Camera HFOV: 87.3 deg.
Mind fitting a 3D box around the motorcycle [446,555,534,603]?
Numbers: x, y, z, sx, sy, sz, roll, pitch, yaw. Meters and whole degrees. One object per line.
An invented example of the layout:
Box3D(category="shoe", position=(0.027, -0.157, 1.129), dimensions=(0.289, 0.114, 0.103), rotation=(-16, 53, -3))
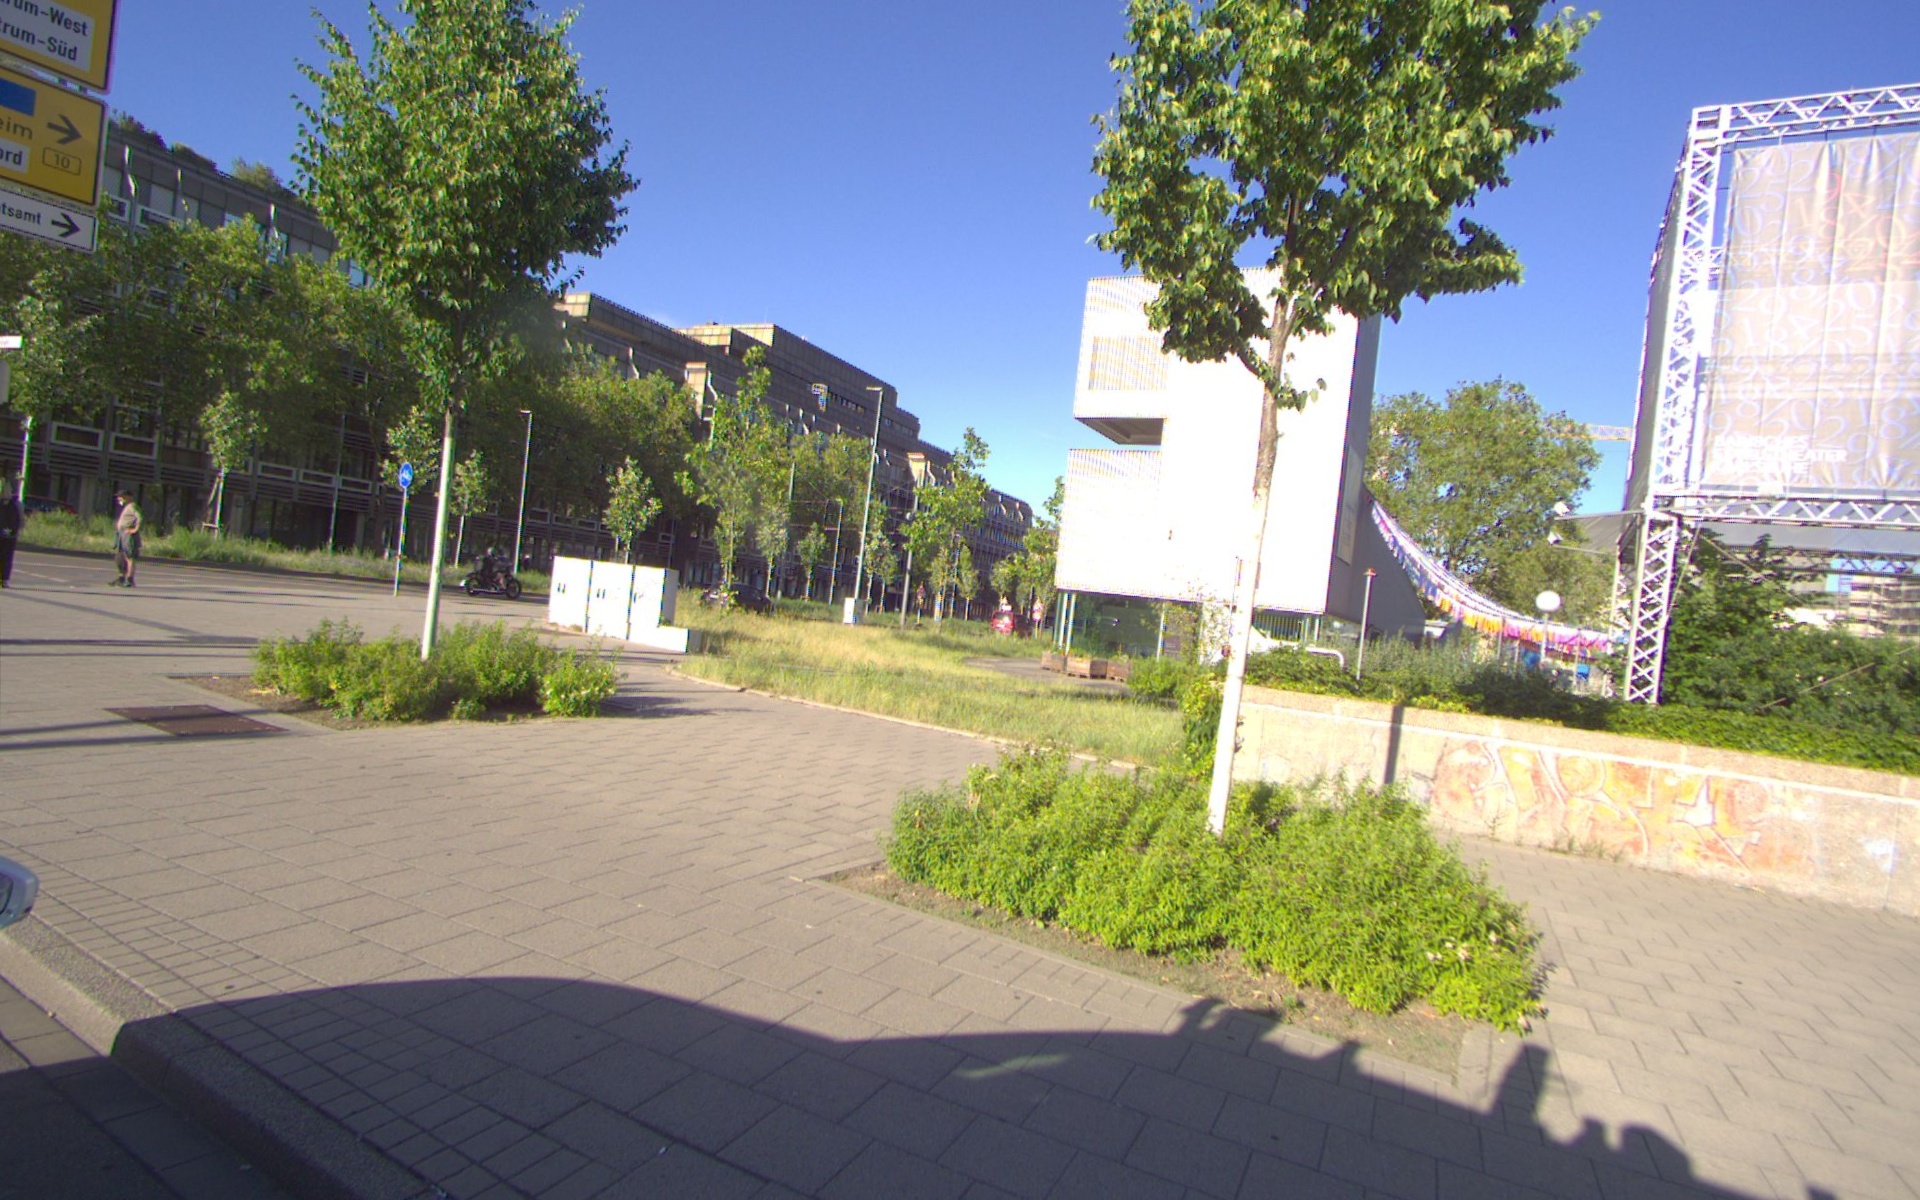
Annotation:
Box3D(category="motorcycle", position=(-14.920, -0.647, 32.039), dimensions=(0.716, 1.223, 2.602), rotation=(8, 0, 24))

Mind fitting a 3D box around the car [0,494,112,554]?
Box3D(category="car", position=(-33.181, -2.777, 35.669), dimensions=(1.792, 1.704, 4.302), rotation=(7, -1, 21))

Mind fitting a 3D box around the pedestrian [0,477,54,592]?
Box3D(category="pedestrian", position=(-14.219, -0.995, 14.959), dimensions=(0.859, 1.634, 0.767), rotation=(7, 1, 30))

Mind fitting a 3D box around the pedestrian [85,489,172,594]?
Box3D(category="pedestrian", position=(-14.901, -1.044, 18.035), dimensions=(0.755, 1.728, 0.873), rotation=(7, 1, 30))

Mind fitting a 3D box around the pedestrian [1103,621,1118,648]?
Box3D(category="pedestrian", position=(9.145, 2.102, 61.203), dimensions=(0.520, 1.571, 0.638), rotation=(7, -1, 31))

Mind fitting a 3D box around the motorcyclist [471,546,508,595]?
Box3D(category="motorcyclist", position=(-14.919, -0.938, 31.917), dimensions=(0.636, 1.441, 0.658), rotation=(8, 1, 24))

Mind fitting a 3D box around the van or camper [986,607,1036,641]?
Box3D(category="van or camper", position=(3.741, 1.760, 72.599), dimensions=(1.970, 2.038, 4.842), rotation=(7, -1, 21))

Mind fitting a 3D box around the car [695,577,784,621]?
Box3D(category="car", position=(-9.565, -0.012, 43.895), dimensions=(1.642, 1.528, 3.871), rotation=(7, -1, 25))
